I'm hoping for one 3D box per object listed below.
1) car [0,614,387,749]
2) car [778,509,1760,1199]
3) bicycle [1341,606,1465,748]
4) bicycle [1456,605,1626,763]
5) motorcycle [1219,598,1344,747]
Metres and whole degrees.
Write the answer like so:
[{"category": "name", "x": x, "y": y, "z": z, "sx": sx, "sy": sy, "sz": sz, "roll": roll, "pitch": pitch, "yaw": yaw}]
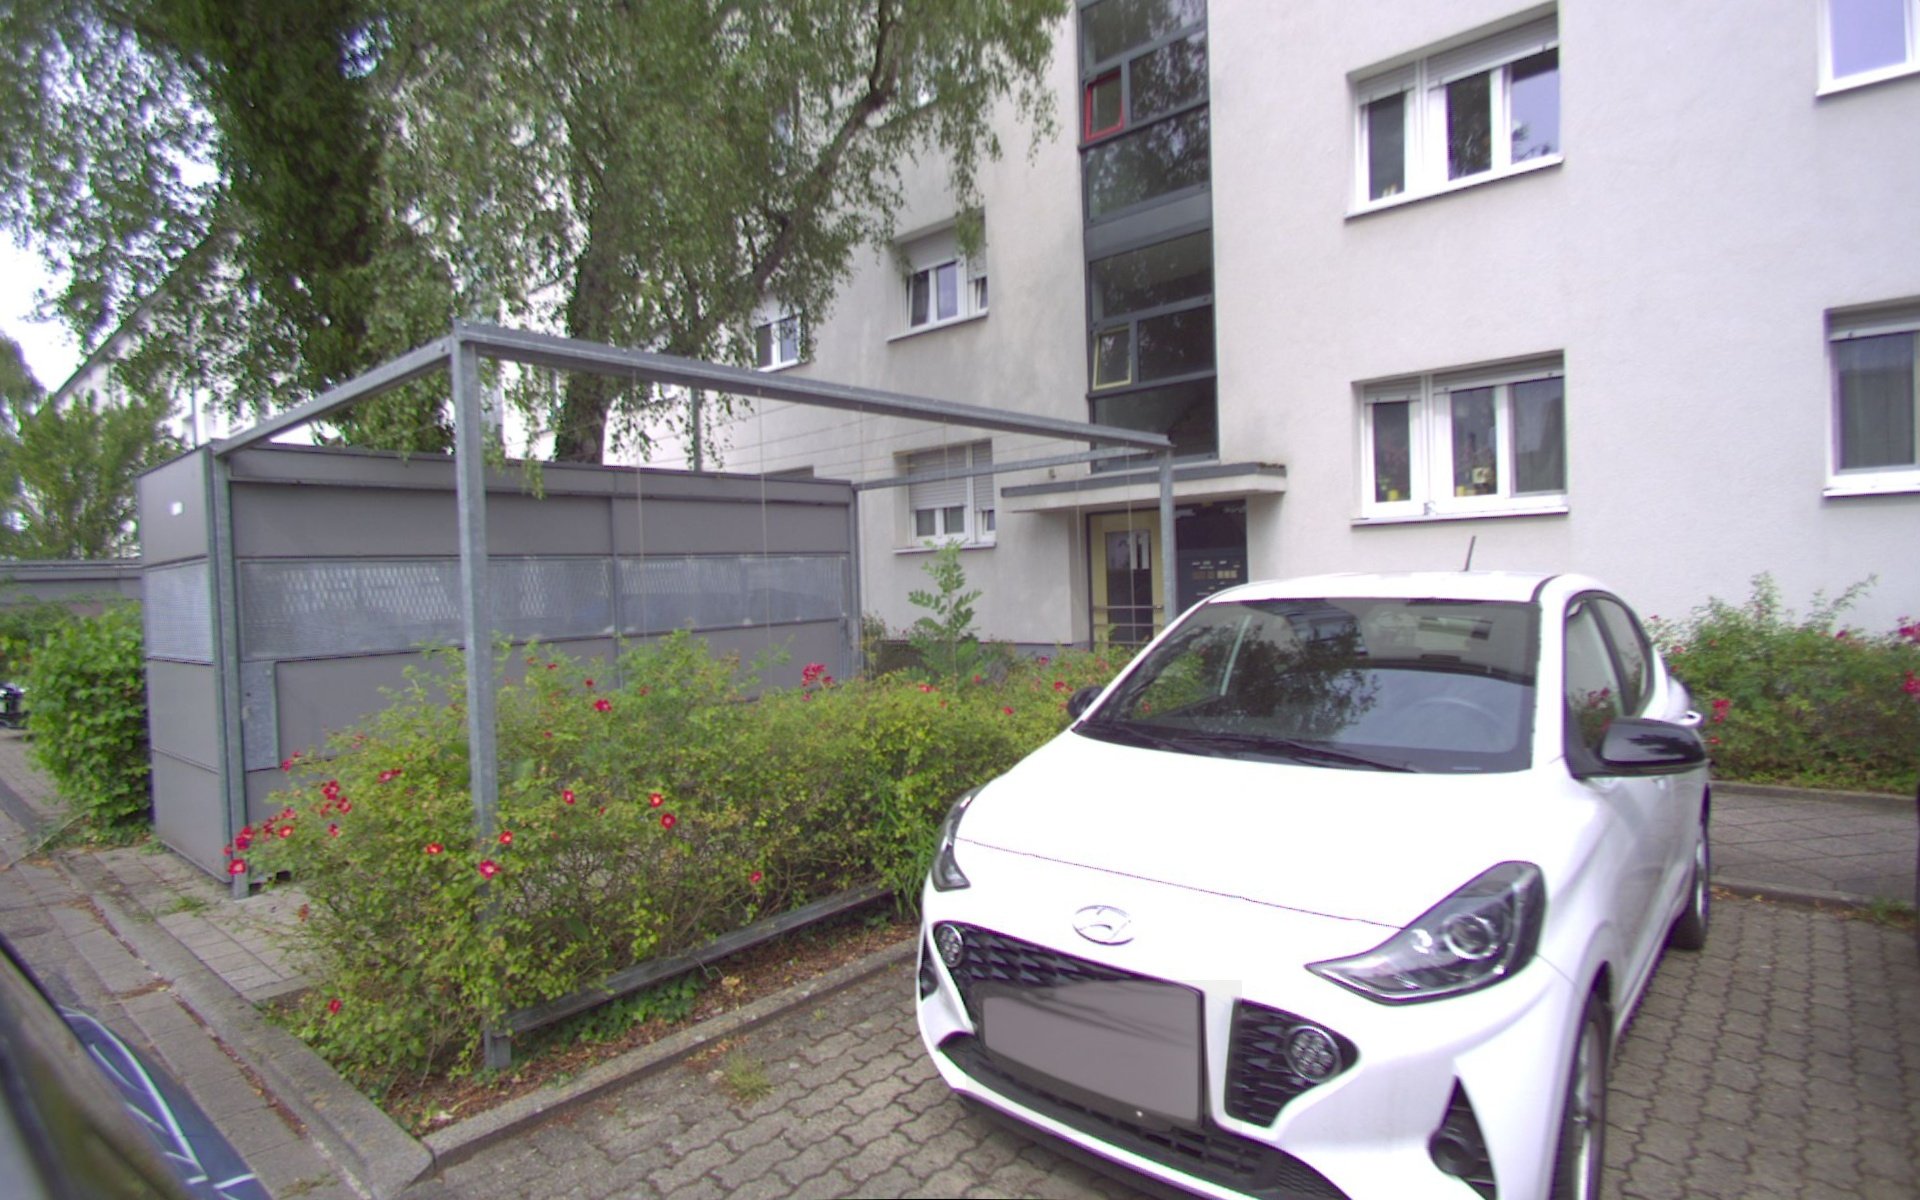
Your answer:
[{"category": "car", "x": -10.711, "y": 1.005, "z": 14.145, "sx": 1.919, "sy": 1.386, "sz": 4.286, "roll": -2, "pitch": 1, "yaw": 36}, {"category": "car", "x": 1.510, "y": 0.567, "z": 3.539, "sx": 1.795, "sy": 1.470, "sz": 3.945, "roll": -2, "pitch": 0, "yaw": 41}, {"category": "bicycle", "x": 3.601, "y": 0.585, "z": 8.351, "sx": 0.571, "sy": 1.011, "sz": 1.661, "roll": -2, "pitch": 0, "yaw": 12}, {"category": "bicycle", "x": 4.251, "y": 0.563, "z": 7.528, "sx": 0.571, "sy": 1.011, "sz": 1.661, "roll": -2, "pitch": 0, "yaw": 12}, {"category": "motorcycle", "x": 2.758, "y": 0.569, "z": 8.870, "sx": 0.669, "sy": 1.132, "sz": 1.895, "roll": -2, "pitch": 0, "yaw": 7}]
